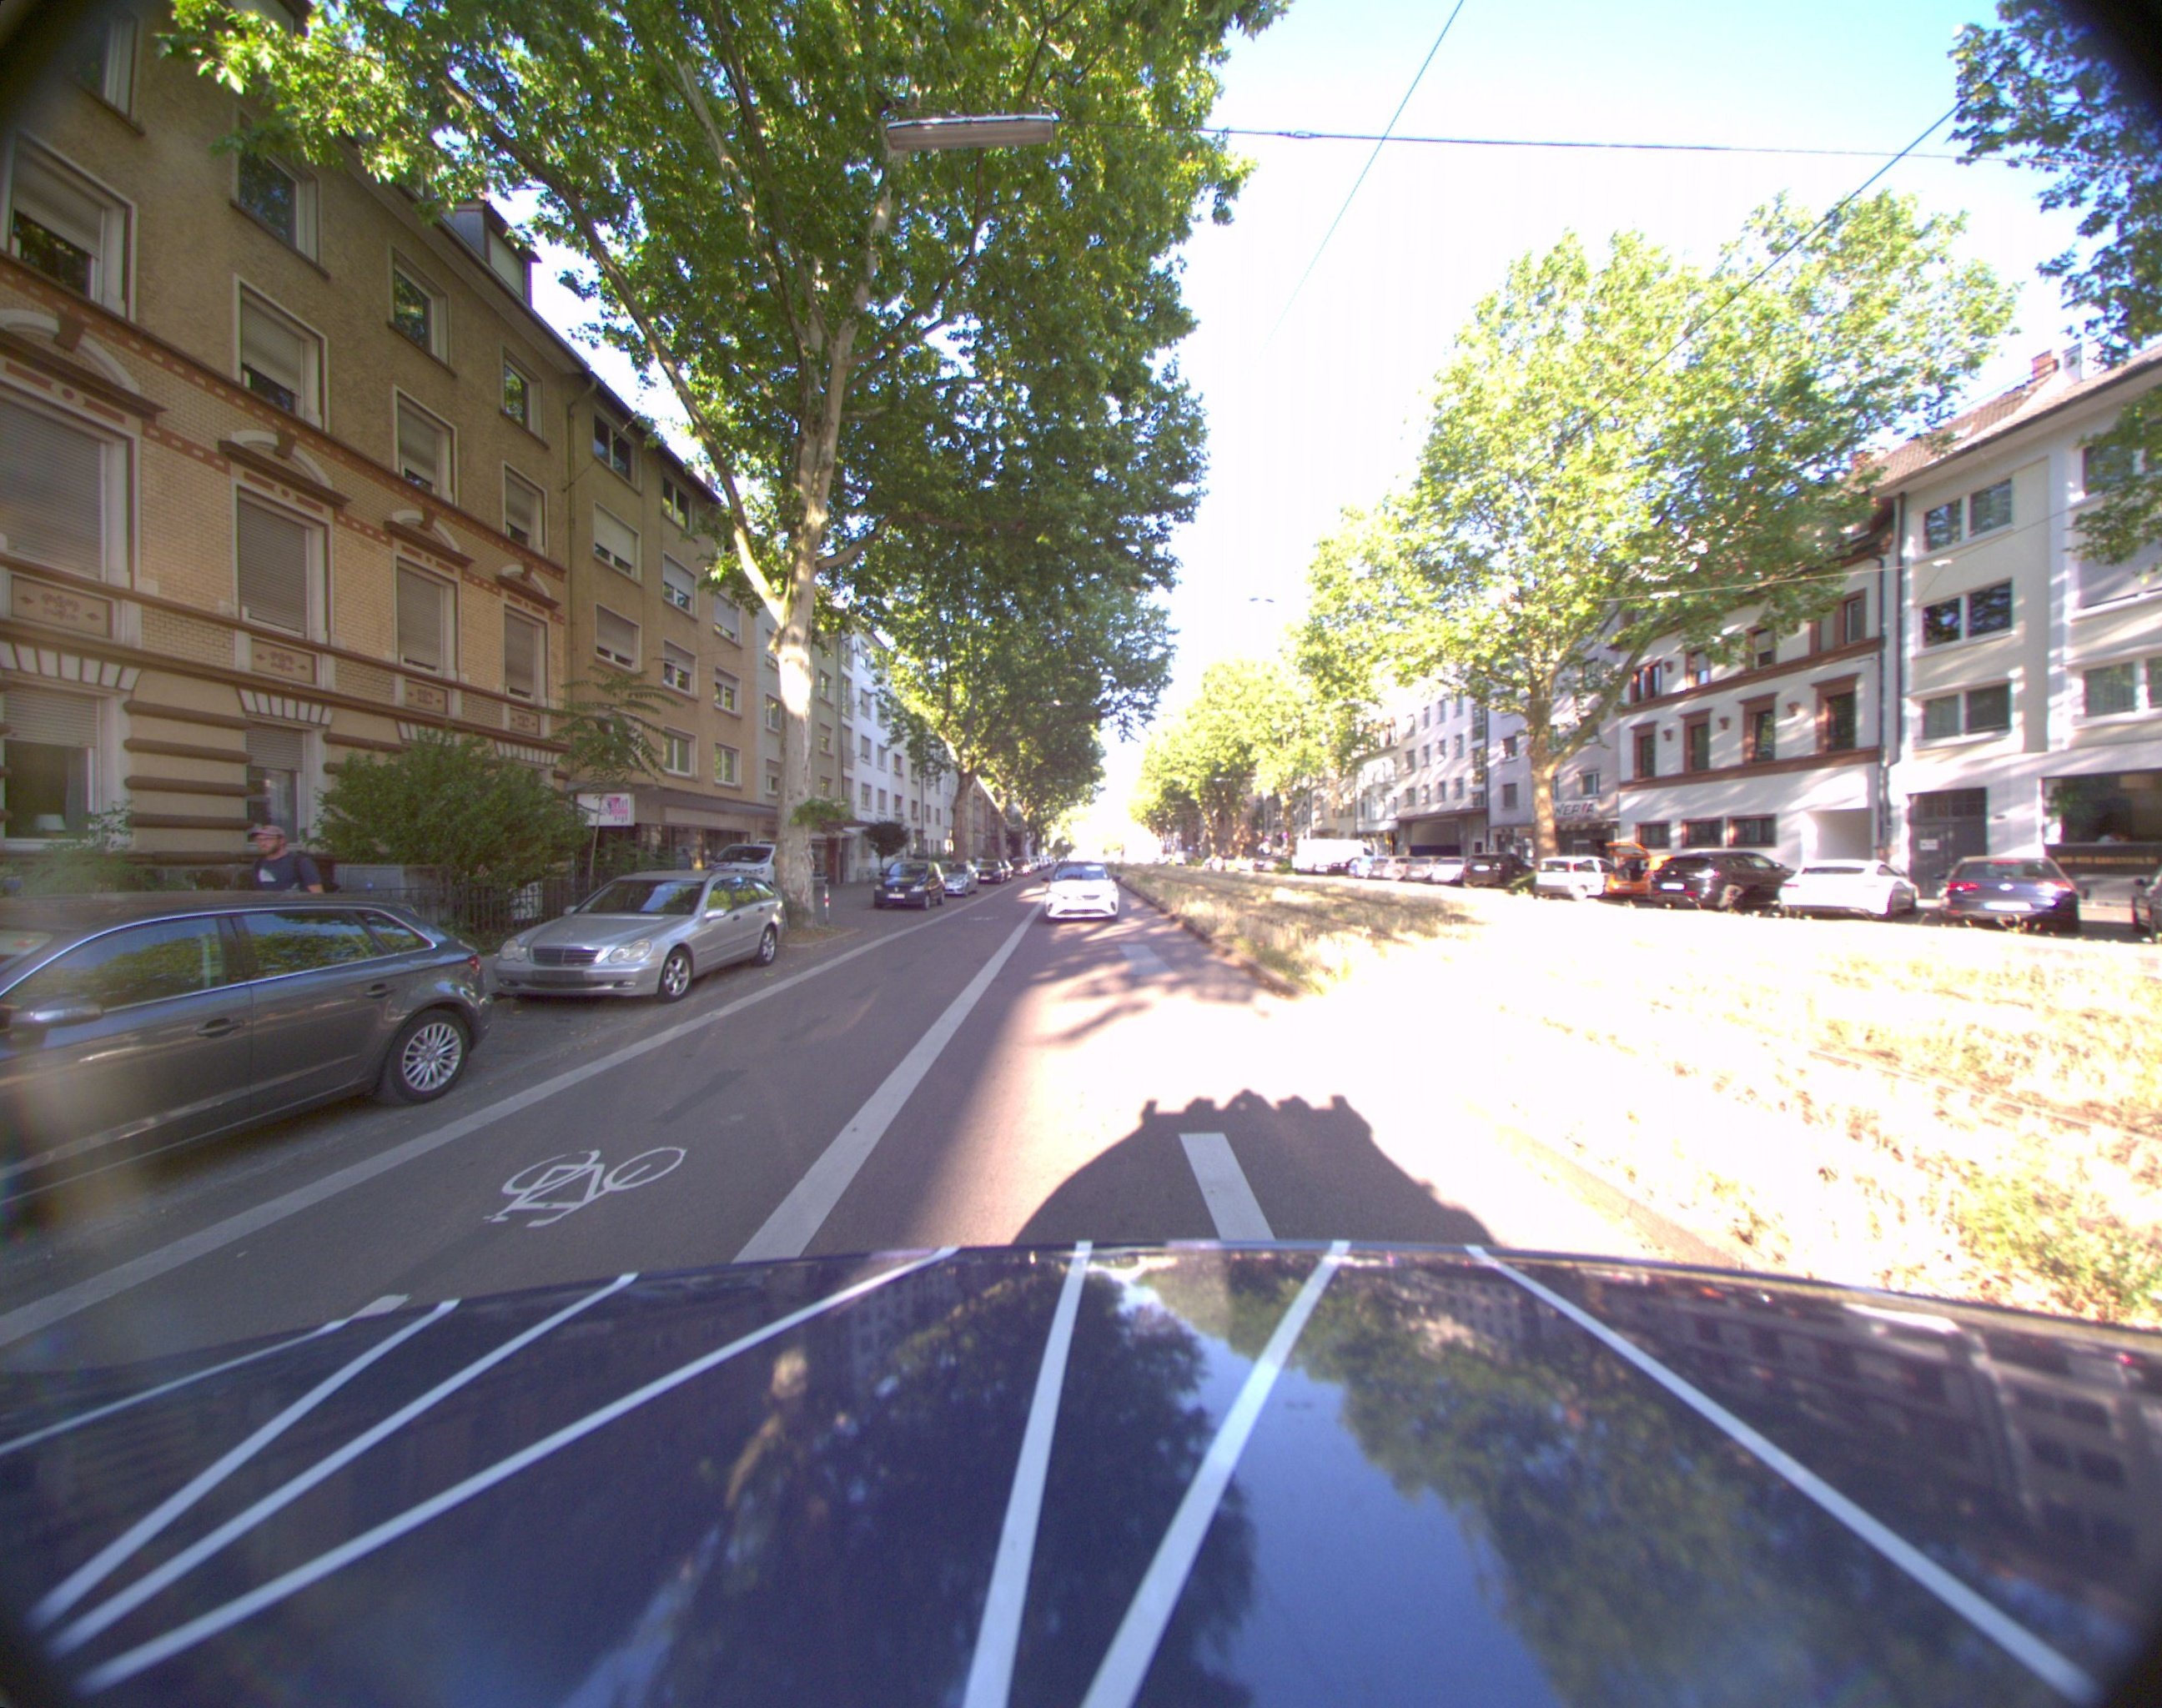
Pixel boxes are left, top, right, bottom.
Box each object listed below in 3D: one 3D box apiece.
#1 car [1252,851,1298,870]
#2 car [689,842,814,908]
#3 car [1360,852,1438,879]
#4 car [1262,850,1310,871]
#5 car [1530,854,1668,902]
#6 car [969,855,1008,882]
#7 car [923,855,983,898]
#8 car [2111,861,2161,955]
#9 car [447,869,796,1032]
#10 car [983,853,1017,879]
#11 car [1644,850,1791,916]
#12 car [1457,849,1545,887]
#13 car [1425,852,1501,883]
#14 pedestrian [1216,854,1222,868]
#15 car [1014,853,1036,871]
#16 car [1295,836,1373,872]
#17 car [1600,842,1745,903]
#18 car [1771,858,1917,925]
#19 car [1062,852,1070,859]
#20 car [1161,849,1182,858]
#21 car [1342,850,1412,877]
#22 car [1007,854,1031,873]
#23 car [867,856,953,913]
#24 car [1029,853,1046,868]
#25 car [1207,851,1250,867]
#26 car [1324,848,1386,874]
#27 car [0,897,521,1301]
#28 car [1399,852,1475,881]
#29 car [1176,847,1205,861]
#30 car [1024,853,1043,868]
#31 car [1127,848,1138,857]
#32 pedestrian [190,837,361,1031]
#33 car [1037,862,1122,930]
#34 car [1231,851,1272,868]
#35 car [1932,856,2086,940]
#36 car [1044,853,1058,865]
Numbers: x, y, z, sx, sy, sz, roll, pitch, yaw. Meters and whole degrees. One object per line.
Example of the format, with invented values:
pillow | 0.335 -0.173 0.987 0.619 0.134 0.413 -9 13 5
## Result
car | 18.650 0.581 73.016 4.006 1.805 1.995 -1 1 -27
car | -10.376 0.590 24.365 1.933 1.864 4.677 2 0 -1
car | 18.878 0.677 45.141 4.004 1.509 1.996 0 0 -20
car | 18.827 0.590 69.744 4.006 1.805 1.995 -1 1 -27
car | 18.130 0.798 26.630 4.260 1.548 1.641 0 1 -15
car | -5.463 0.828 45.485 1.803 1.494 4.369 2 0 -1
car | -5.341 0.906 32.237 1.803 1.599 4.369 2 0 -1
car | 19.089 0.849 12.734 3.979 1.424 1.738 -1 -1 -42
car | -5.386 1.009 9.770 1.803 1.446 4.511 2 0 -1
car | -5.392 0.804 51.186 1.803 1.599 4.369 2 0 -1
car | 18.220 0.747 21.714 4.265 1.674 2.147 -1 1 -34
car | 18.894 0.596 34.119 4.265 1.605 1.902 -1 1 -37
car | 18.970 0.644 37.668 4.265 1.451 1.598 -1 1 -36
pedestrian | 14.988 0.766 82.691 0.620 1.588 0.422 0 1 1
car | -5.390 0.775 73.519 1.803 1.599 4.104 2 0 -1
car | 19.190 -0.017 57.569 5.619 2.684 2.176 -1 1 -24
car | 19.548 0.571 25.129 4.260 1.932 1.514 0 1 -15
car | 18.557 0.818 18.429 4.266 1.369 2.147 -1 0 -40
car | -4.604 0.466 234.406 1.998 2.002 4.000 -2 1 1
car | 18.276 -0.044 153.723 3.994 1.802 1.874 0 1 10
car | 18.789 0.563 48.268 4.006 1.608 1.995 -1 0 -27
car | -5.365 0.808 66.244 1.803 1.599 4.104 2 0 -1
car | -5.410 0.898 24.601 1.803 1.599 4.369 2 0 -1
car | -5.352 0.724 93.034 1.803 1.742 4.104 2 0 -1
car | 16.214 0.547 83.574 4.234 1.696 1.999 0 0 -4
car | 19.788 0.459 54.870 4.006 1.805 1.995 -1 1 -27
car | -5.204 1.065 3.605 1.802 1.393 4.370 2 0 1
car | 19.205 0.619 40.945 4.265 1.449 1.902 -1 0 -36
car | 18.732 -0.017 130.010 4.952 2.200 2.096 -1 1 -42
car | -5.384 0.742 86.656 1.803 1.599 4.104 2 0 -1
car | 15.228 -0.368 225.575 2.963 2.407 6.327 -2 1 1
pedestrian | -7.551 0.707 7.167 0.728 1.701 0.816 2 1 0
car | -0.044 0.960 18.994 1.865 1.394 3.931 -2 0 0
car | 18.317 0.586 81.578 4.006 1.696 1.995 -1 1 -27
car | 19.318 0.816 15.991 3.979 1.495 1.827 -1 1 -42
car | -4.310 0.712 109.571 1.803 1.598 3.702 2 0 -1
